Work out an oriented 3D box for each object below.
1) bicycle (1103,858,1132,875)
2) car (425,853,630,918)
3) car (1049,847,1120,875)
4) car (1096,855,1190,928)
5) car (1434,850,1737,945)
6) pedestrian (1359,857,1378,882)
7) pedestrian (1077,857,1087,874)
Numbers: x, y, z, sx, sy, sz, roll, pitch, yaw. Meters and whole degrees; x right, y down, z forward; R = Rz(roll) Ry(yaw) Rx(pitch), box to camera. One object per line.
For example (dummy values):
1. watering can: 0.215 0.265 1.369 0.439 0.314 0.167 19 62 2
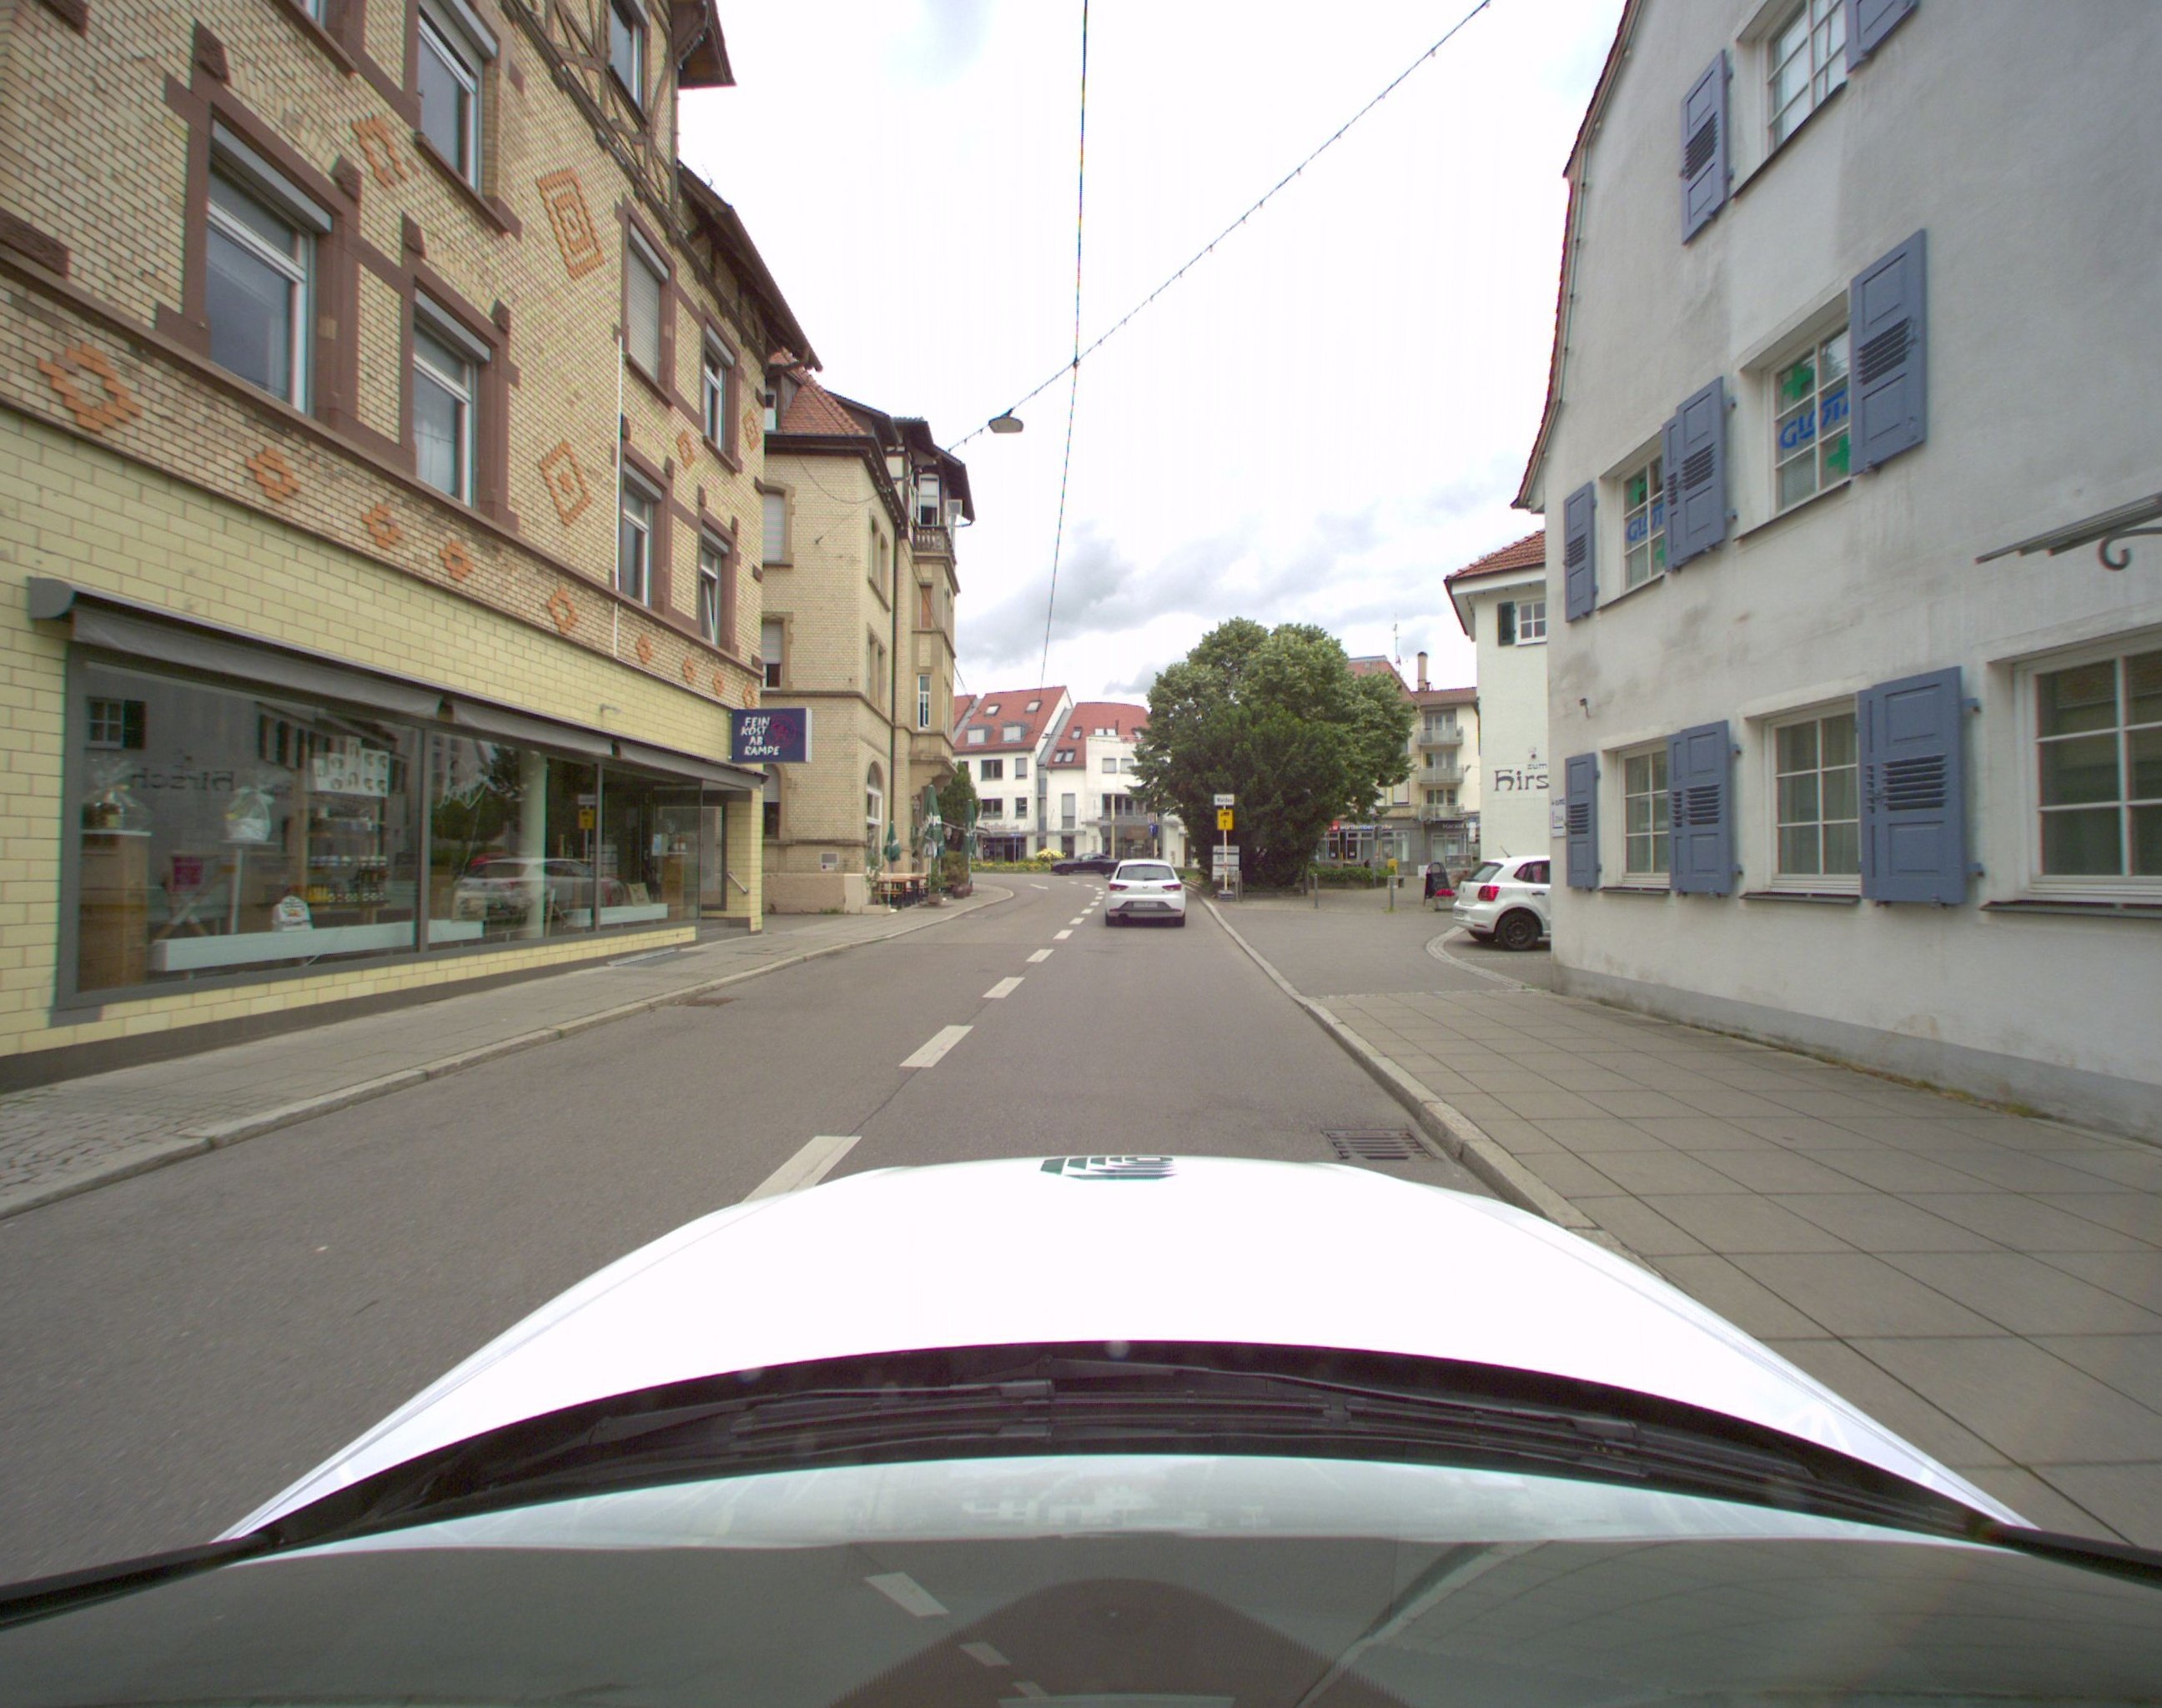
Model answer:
1. bicycle: 2.714 0.895 60.130 1.957 1.240 0.748 0 0 21
2. car: -12.840 0.724 19.264 1.986 1.369 4.001 0 -1 2
3. car: 0.184 0.442 52.173 4.353 1.675 2.038 1 0 -6
4. car: 1.541 0.775 18.902 1.832 1.434 4.011 0 1 9
5. car: 8.033 0.677 13.282 3.776 1.418 1.899 0 -1 3
6. pedestrian: 15.749 0.852 44.632 0.849 1.380 0.978 1 -1 9
7. pedestrian: 0.091 0.899 64.291 0.651 1.341 0.698 0 -1 9
